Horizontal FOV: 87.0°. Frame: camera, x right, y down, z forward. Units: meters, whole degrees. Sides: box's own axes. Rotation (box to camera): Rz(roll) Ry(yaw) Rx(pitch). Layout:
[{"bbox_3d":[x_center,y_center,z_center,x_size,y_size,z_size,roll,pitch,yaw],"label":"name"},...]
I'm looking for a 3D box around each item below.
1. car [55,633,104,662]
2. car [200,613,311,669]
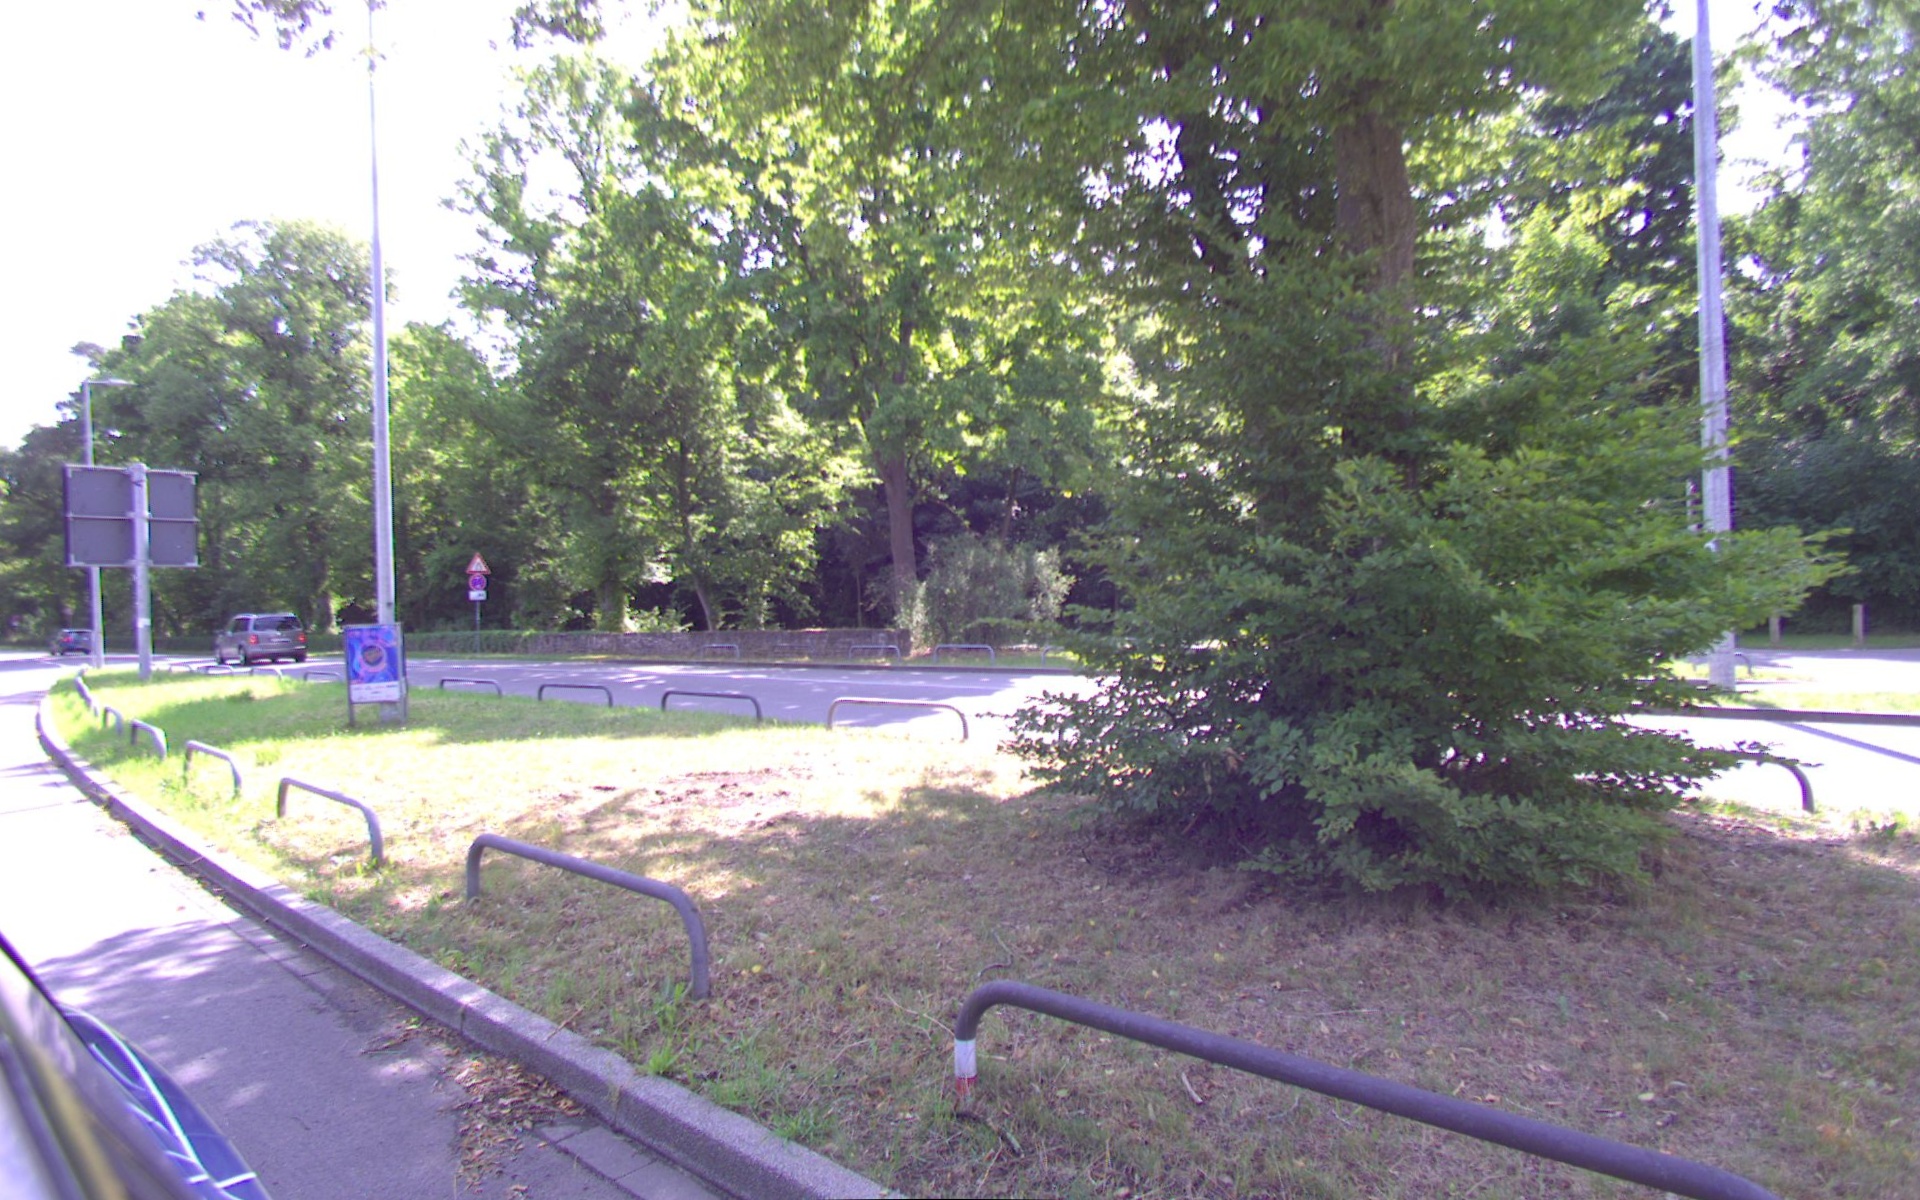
[{"bbox_3d":[-50.202,2.679,57.678,4.068,1.457,1.676,-1,2,44],"label":"car"},{"bbox_3d":[-23.309,1.359,33.446,4.293,1.642,1.745,-2,1,38],"label":"car"}]
